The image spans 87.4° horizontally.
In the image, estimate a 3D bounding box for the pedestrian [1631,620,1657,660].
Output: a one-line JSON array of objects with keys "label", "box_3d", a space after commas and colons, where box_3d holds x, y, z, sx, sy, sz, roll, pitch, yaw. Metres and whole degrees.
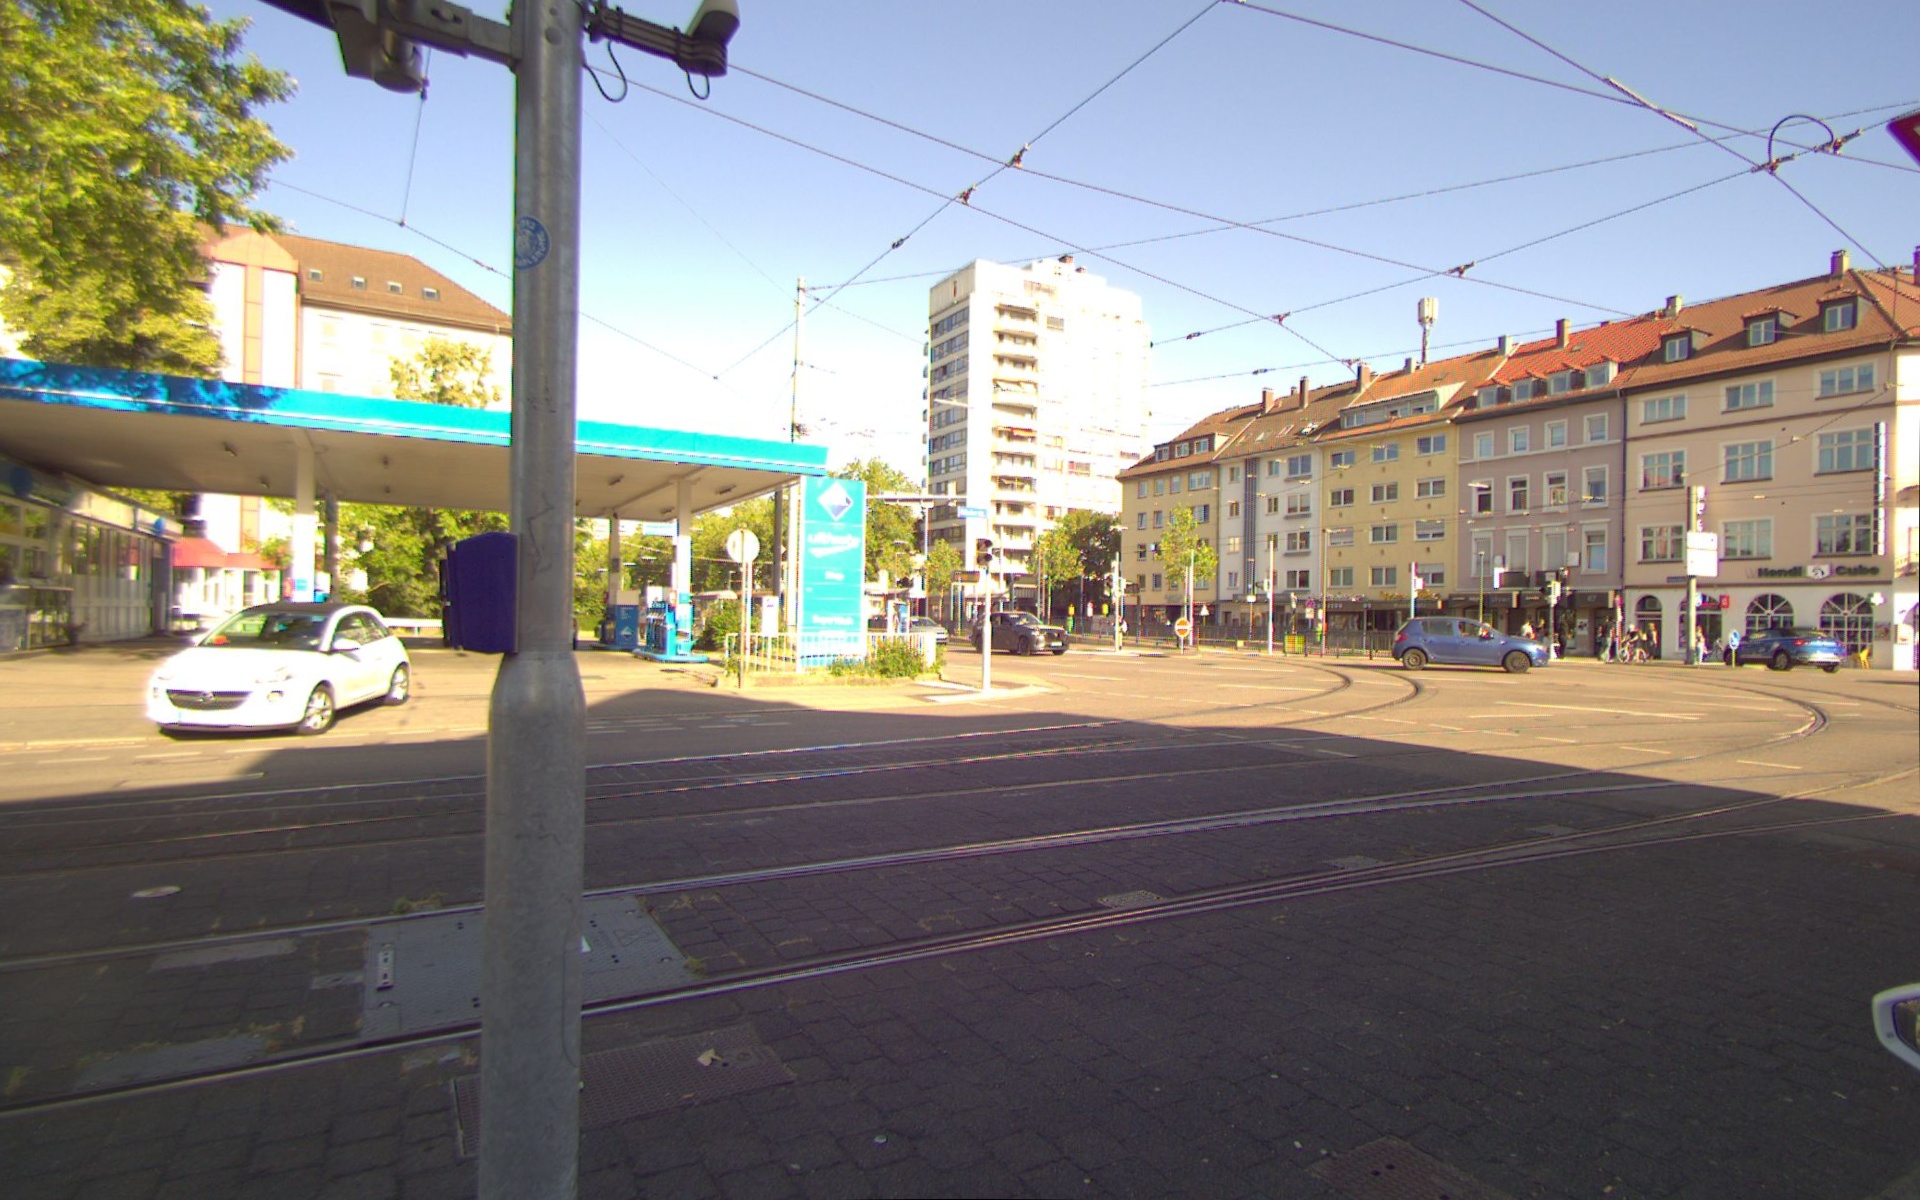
[{"label": "pedestrian", "box_3d": [28.947, 1.705, 42.515, 0.831, 1.670, 0.579, 2, 0, -30]}]

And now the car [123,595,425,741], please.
[{"label": "car", "box_3d": [-8.652, 0.762, 13.120, 1.712, 1.455, 3.928, 2, 2, -9]}]

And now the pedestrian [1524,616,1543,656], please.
[{"label": "pedestrian", "box_3d": [24.565, 1.549, 43.013, 0.492, 1.670, 0.520, 2, 0, -30]}]

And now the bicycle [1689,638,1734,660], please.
[{"label": "bicycle", "box_3d": [37.842, 2.468, 50.602, 0.603, 0.996, 1.693, 2, 0, -29]}]

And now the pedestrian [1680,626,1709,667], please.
[{"label": "pedestrian", "box_3d": [29.890, 1.899, 40.891, 0.805, 1.615, 0.665, 2, 0, -30]}]

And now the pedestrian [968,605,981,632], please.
[{"label": "pedestrian", "box_3d": [1.164, 1.495, 81.569, 0.729, 2.127, 0.880, 2, 0, -21]}]

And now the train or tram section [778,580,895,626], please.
[{"label": "train or tram section", "box_3d": [-9.872, 0.135, 77.118, 2.821, 3.179, 16.611, 2, 0, -29]}]

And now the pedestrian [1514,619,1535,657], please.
[{"label": "pedestrian", "box_3d": [25.320, 1.697, 45.051, 0.609, 1.670, 0.581, 2, 0, -30]}]

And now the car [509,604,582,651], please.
[{"label": "car", "box_3d": [-13.513, 0.862, 32.654, 1.659, 1.372, 3.559, 2, 0, -31]}]

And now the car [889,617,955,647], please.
[{"label": "car", "box_3d": [-1.944, 1.579, 50.048, 1.712, 1.408, 4.200, 1, -1, -26]}]

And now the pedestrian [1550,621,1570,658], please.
[{"label": "pedestrian", "box_3d": [25.054, 1.646, 41.954, 0.550, 1.512, 0.489, 2, 0, -30]}]

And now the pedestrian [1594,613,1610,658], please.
[{"label": "pedestrian", "box_3d": [26.465, 1.450, 41.419, 0.520, 1.847, 0.675, 2, 0, 33]}]

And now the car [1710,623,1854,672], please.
[{"label": "car", "box_3d": [29.572, 1.666, 36.332, 1.795, 1.596, 4.199, 1, 0, 1]}]

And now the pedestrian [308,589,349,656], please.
[{"label": "pedestrian", "box_3d": [-16.413, 0.594, 26.112, 0.838, 1.724, 0.644, 2, -3, -31]}]

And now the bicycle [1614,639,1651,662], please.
[{"label": "bicycle", "box_3d": [31.273, 2.343, 46.738, 1.731, 1.044, 0.619, 2, 0, -25]}]

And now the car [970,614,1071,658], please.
[{"label": "car", "box_3d": [2.319, 1.404, 39.562, 1.852, 1.623, 4.419, 1, -2, -30]}]

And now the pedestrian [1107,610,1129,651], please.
[{"label": "pedestrian", "box_3d": [6.438, 1.247, 40.921, 0.750, 1.631, 0.613, 2, 0, 15]}]

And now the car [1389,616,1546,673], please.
[{"label": "car", "box_3d": [14.317, 1.230, 28.465, 3.847, 1.523, 1.788, 0, -2, 27]}]

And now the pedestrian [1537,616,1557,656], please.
[{"label": "pedestrian", "box_3d": [24.836, 1.516, 42.525, 0.492, 1.670, 0.520, 2, 0, -30]}]

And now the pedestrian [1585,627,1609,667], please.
[{"label": "pedestrian", "box_3d": [27.485, 2.022, 43.314, 0.719, 1.670, 0.570, 2, 0, -30]}]

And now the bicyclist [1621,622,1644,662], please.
[{"label": "bicyclist", "box_3d": [31.304, 1.937, 46.745, 0.606, 1.814, 0.619, 2, 0, -25]}]
